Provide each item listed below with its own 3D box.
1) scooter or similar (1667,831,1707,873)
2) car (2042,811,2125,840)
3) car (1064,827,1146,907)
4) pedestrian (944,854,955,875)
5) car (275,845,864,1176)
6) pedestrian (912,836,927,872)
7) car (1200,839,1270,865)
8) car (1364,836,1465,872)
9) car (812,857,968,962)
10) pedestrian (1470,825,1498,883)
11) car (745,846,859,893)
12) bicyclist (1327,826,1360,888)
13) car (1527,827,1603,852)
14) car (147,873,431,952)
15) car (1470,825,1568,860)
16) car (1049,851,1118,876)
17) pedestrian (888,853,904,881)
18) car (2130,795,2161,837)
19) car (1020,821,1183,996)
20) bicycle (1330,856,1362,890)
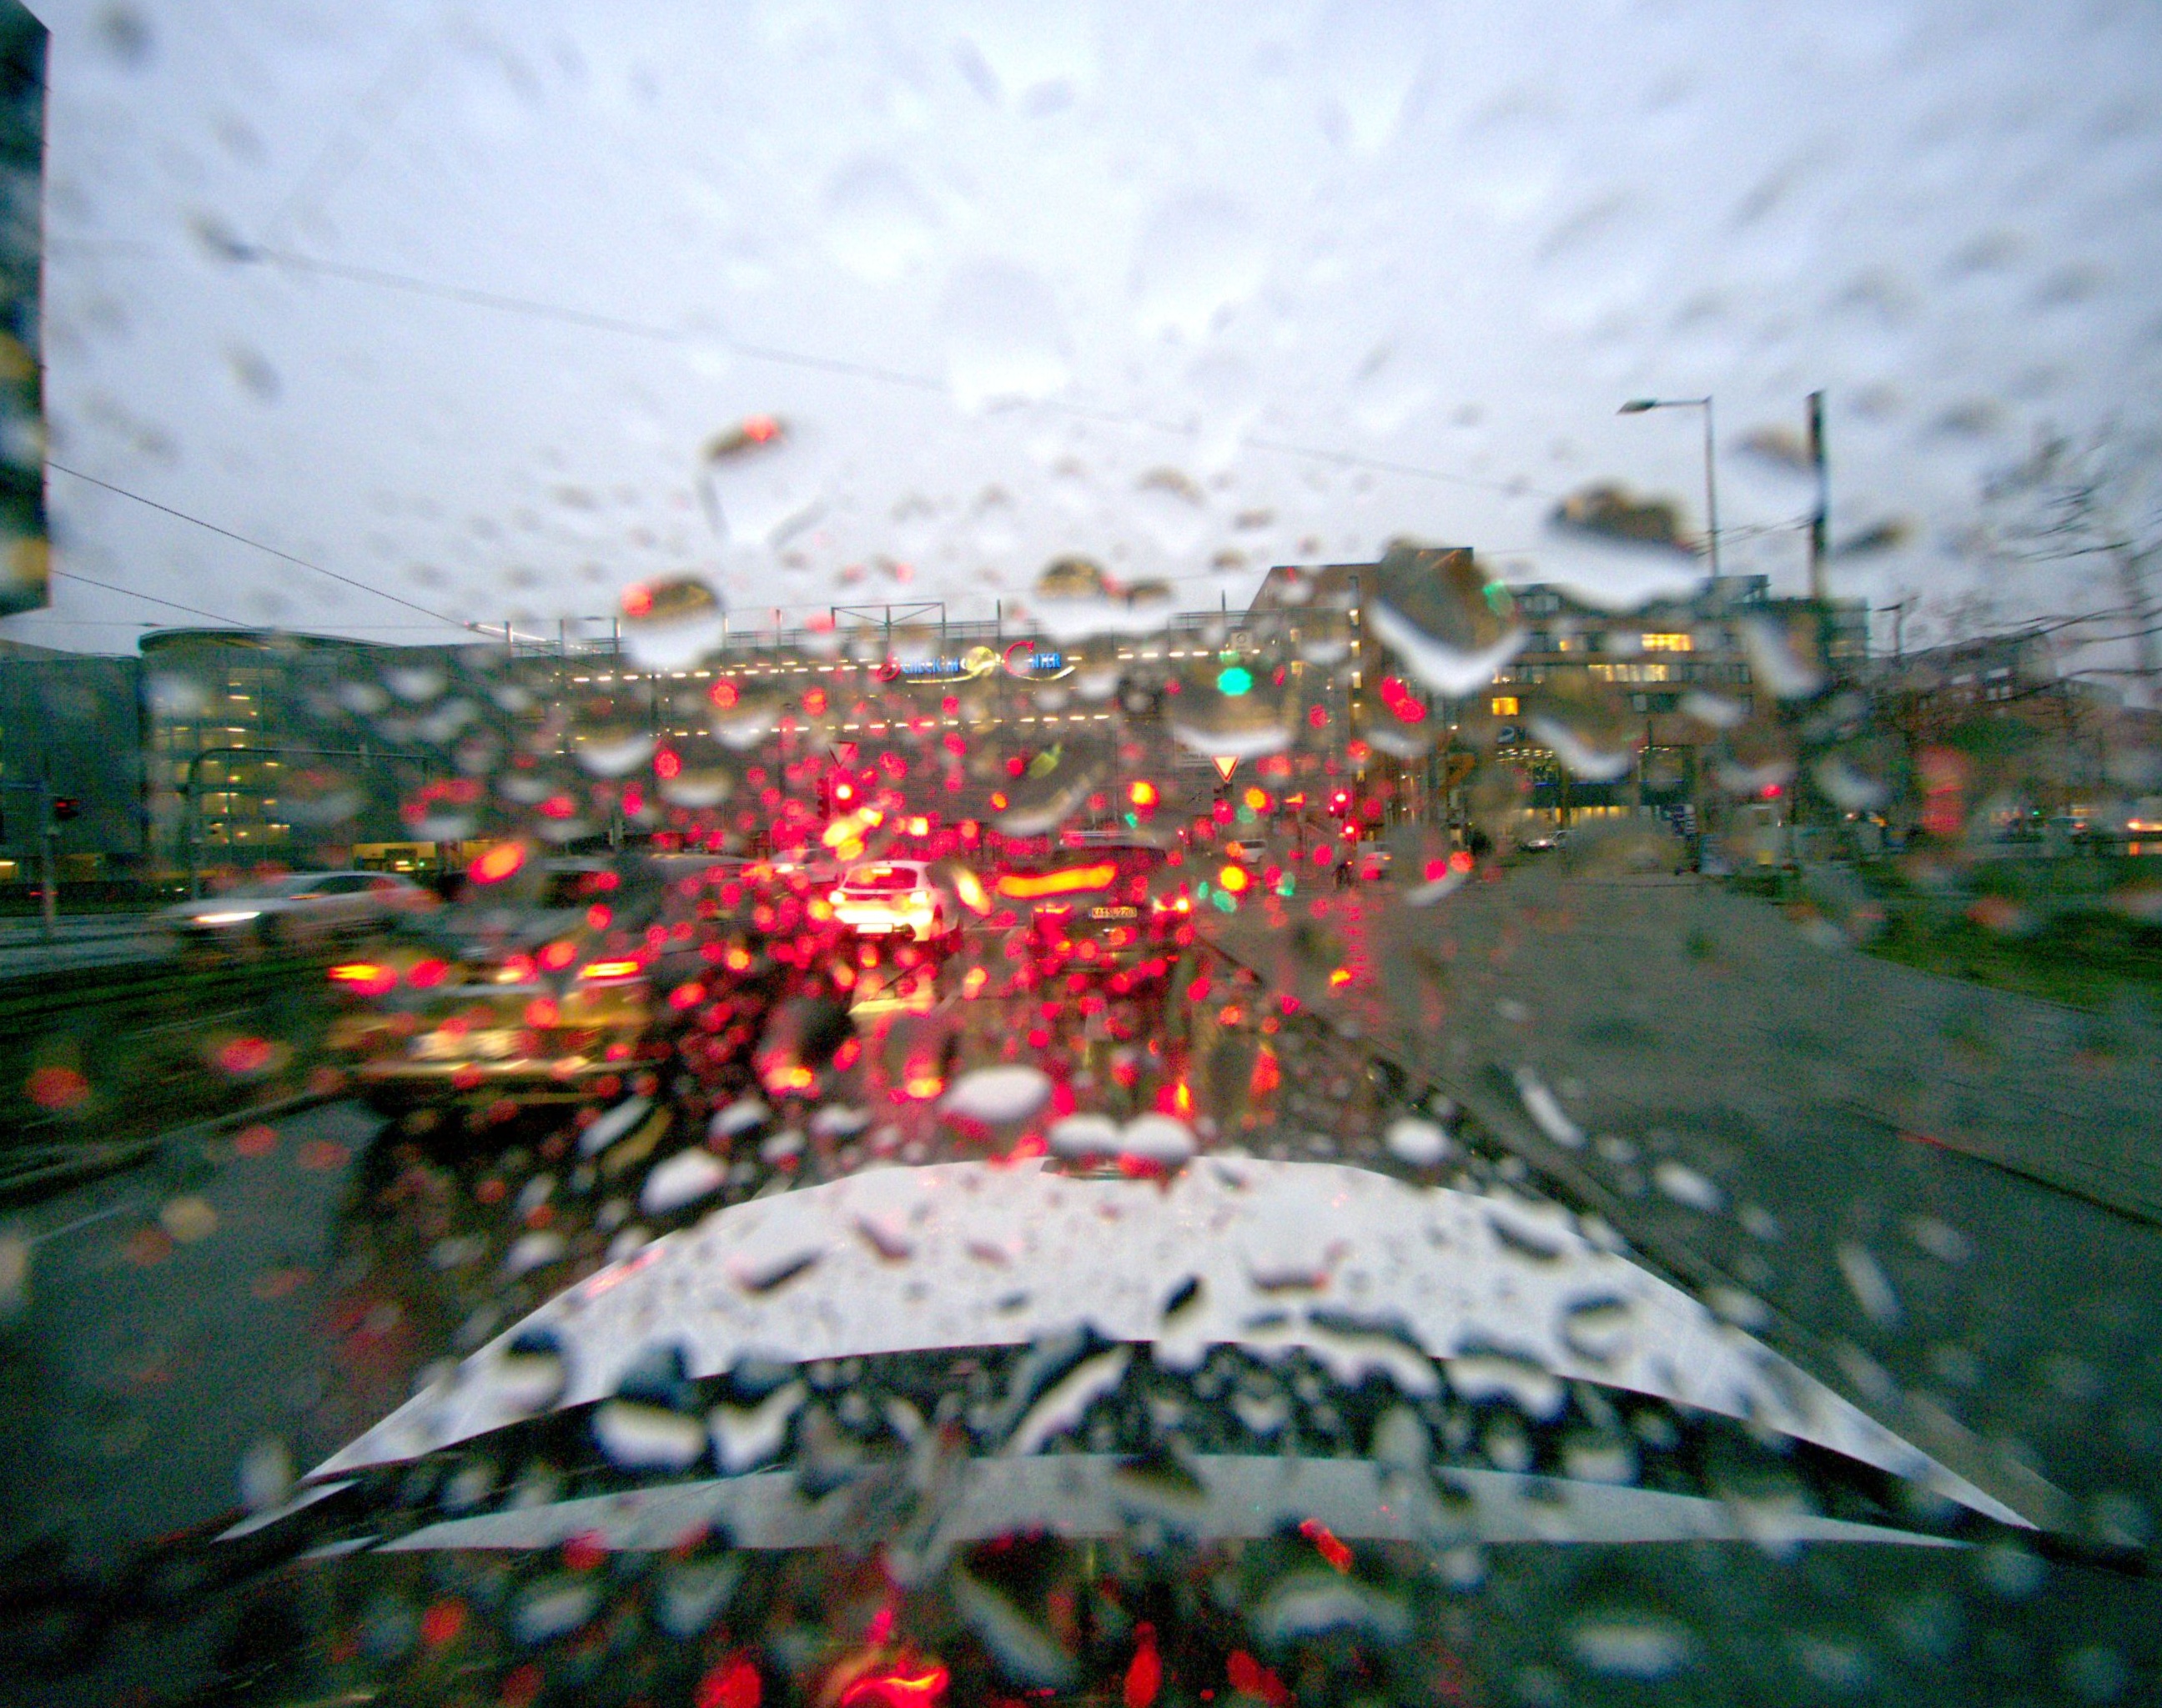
[{"bbox_3d":[17.900,-0.067,24.055,1.311,1.206,0.331,-2,0,-25],"label":"scooter or similar"},{"bbox_3d":[58.290,-1.627,47.364,3.679,1.496,1.636,-3,0,-15],"label":"car"},{"bbox_3d":[0.582,0.304,21.249,1.837,1.806,4.487,-2,0,0],"label":"car"},{"bbox_3d":[-11.335,0.876,70.156,0.785,1.787,0.733,-2,0,-1],"label":"pedestrian"},{"bbox_3d":[-3.128,0.775,6.252,1.816,1.570,4.358,-2,0,-2],"label":"car"},{"bbox_3d":[-13.458,-0.002,67.801,0.959,2.925,1.115,-1,-1,3],"label":"pedestrian"},{"bbox_3d":[11.172,-0.156,59.170,4.628,1.677,1.784,-2,0,-4],"label":"car"},{"bbox_3d":[14.089,-0.009,34.415,3.728,1.361,1.636,-2,0,-16],"label":"car"},{"bbox_3d":[-3.038,0.808,13.754,1.753,1.463,3.915,-1,0,-1],"label":"car"},{"bbox_3d":[13.354,0.017,26.967,0.766,1.877,0.639,-2,0,26],"label":"pedestrian"},{"bbox_3d":[-12.371,0.648,36.522,1.882,1.871,4.991,-2,0,24],"label":"car"},{"bbox_3d":[8.265,0.104,25.681,0.786,1.890,0.992,-2,0,10],"label":"bicyclist"},{"bbox_3d":[36.336,-1.073,61.196,4.579,1.719,1.930,-2,0,0],"label":"car"},{"bbox_3d":[-17.366,1.215,18.240,1.631,1.386,4.484,-2,0,6],"label":"car"},{"bbox_3d":[29.271,-0.758,54.499,5.588,2.059,1.966,-2,0,32],"label":"car"},{"bbox_3d":[0.209,0.606,54.178,4.363,1.486,1.844,-2,0,-39],"label":"car"},{"bbox_3d":[-16.694,1.164,73.515,1.105,2.439,0.967,-1,-1,3],"label":"pedestrian"},{"bbox_3d":[66.782,-2.366,49.381,5.971,2.427,1.988,-2,0,-18],"label":"car"},{"bbox_3d":[0.337,0.553,10.352,1.666,1.779,4.004,0,0,4],"label":"car"},{"bbox_3d":[8.359,0.582,25.734,0.651,0.973,1.872,-2,0,10],"label":"bicycle"}]
